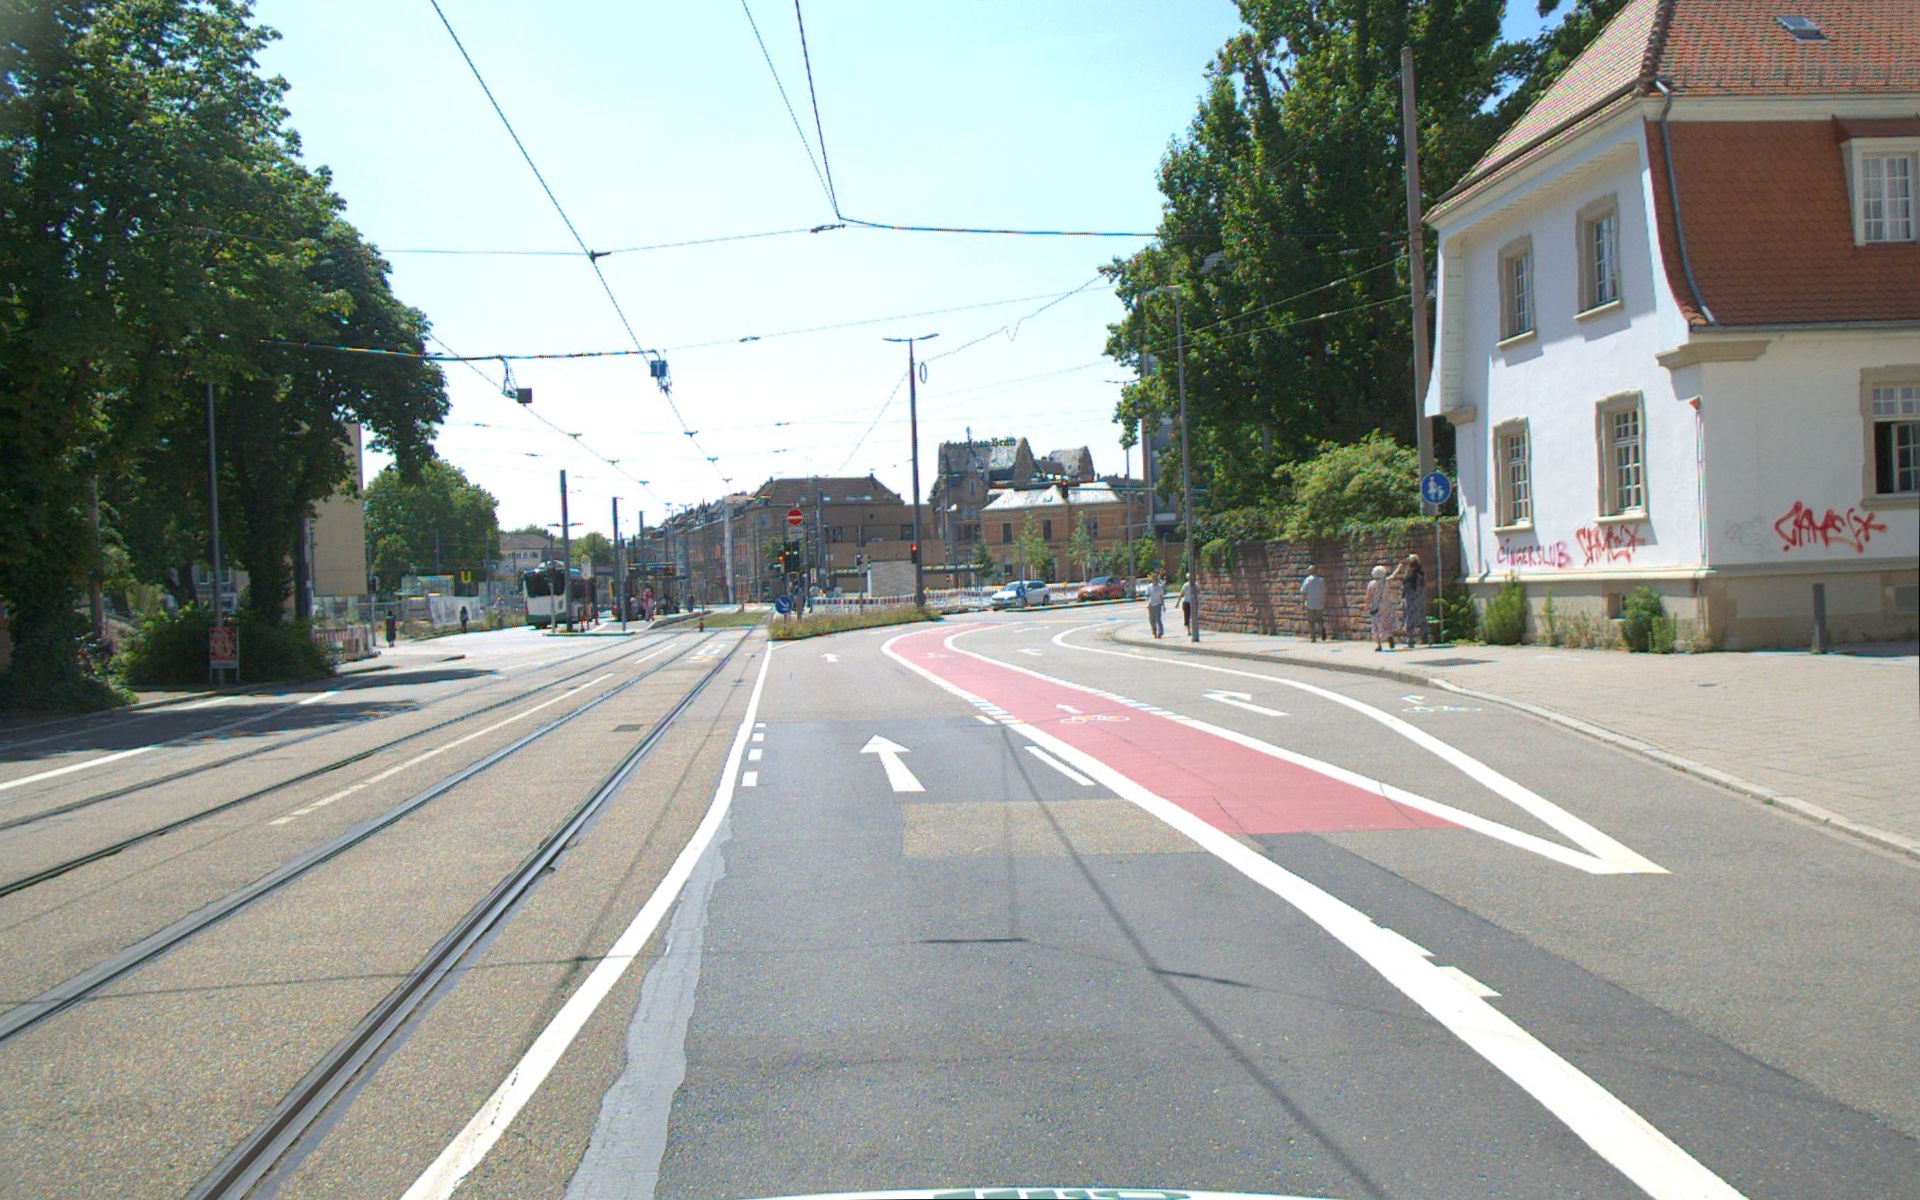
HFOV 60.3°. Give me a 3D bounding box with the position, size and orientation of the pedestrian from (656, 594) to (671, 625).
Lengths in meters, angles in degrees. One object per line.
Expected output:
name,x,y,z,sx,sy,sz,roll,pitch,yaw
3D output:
pedestrian,-21.017,0.671,117.204,0.881,2.133,0.831,-2,0,-1

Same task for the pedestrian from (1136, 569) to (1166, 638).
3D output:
pedestrian,5.248,0.097,45.455,0.663,1.839,0.747,-2,0,-2

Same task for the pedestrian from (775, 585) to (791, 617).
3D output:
pedestrian,-10.041,0.060,93.834,0.715,1.736,0.740,-1,-1,-18

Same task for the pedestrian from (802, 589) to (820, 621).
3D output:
pedestrian,-8.779,0.287,97.625,0.718,1.897,0.762,-3,-1,43

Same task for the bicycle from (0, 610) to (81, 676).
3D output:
bicycle,-25.128,1.177,44.806,2.274,1.722,0.552,-2,-1,-1

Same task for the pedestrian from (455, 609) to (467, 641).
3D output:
pedestrian,-27.570,1.386,91.423,0.556,1.735,0.396,-2,0,-14

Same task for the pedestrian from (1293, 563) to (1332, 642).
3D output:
pedestrian,7.684,0.056,36.114,0.647,1.676,0.624,-2,0,-1

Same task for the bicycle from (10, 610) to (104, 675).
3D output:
bicycle,-25.117,1.172,46.035,2.274,1.722,0.552,-2,-1,-1

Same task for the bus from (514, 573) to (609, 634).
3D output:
bus,-23.493,0.158,98.603,2.952,3.213,17.477,-2,0,-5

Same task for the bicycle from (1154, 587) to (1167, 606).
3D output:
bicycle,13.606,-0.245,112.378,0.389,1.195,1.770,-3,-2,21

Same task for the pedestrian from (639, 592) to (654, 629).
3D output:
pedestrian,-16.608,0.541,87.642,0.662,1.943,0.638,-2,0,-16

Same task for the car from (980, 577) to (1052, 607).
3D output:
car,3.007,-0.454,88.019,1.955,1.463,4.700,-2,0,27

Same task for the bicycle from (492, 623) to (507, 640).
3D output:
bicycle,-26.448,1.804,95.077,0.494,0.930,2.366,0,0,-7

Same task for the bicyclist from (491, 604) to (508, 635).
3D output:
bicyclist,-26.459,1.127,95.079,0.805,1.739,0.769,-2,0,-8

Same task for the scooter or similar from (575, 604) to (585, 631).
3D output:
scooter or similar,-17.207,0.785,74.883,0.313,1.227,1.245,-2,0,-11

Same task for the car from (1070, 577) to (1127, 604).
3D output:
car,8.175,-0.579,97.512,1.699,1.449,4.116,-2,0,30

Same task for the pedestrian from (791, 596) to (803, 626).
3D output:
pedestrian,-9.291,0.634,94.332,0.517,1.704,0.749,-1,-1,-13

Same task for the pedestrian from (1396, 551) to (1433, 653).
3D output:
pedestrian,8.476,0.044,30.829,0.614,1.805,0.719,2,-7,16

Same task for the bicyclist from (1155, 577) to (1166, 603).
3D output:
bicyclist,13.660,-0.675,112.515,0.557,1.749,0.505,-3,-3,35

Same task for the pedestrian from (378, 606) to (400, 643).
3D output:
pedestrian,-25.590,1.100,74.103,0.593,1.630,0.826,-2,0,4

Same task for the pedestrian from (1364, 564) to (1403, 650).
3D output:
pedestrian,7.873,0.129,30.746,0.505,1.559,0.597,-2,0,-1

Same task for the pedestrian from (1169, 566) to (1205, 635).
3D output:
pedestrian,6.263,0.015,45.632,0.798,1.839,0.700,-2,0,-2

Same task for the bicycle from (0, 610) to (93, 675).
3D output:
bicycle,-25.114,1.161,45.415,2.274,1.722,0.552,-2,-1,-1
